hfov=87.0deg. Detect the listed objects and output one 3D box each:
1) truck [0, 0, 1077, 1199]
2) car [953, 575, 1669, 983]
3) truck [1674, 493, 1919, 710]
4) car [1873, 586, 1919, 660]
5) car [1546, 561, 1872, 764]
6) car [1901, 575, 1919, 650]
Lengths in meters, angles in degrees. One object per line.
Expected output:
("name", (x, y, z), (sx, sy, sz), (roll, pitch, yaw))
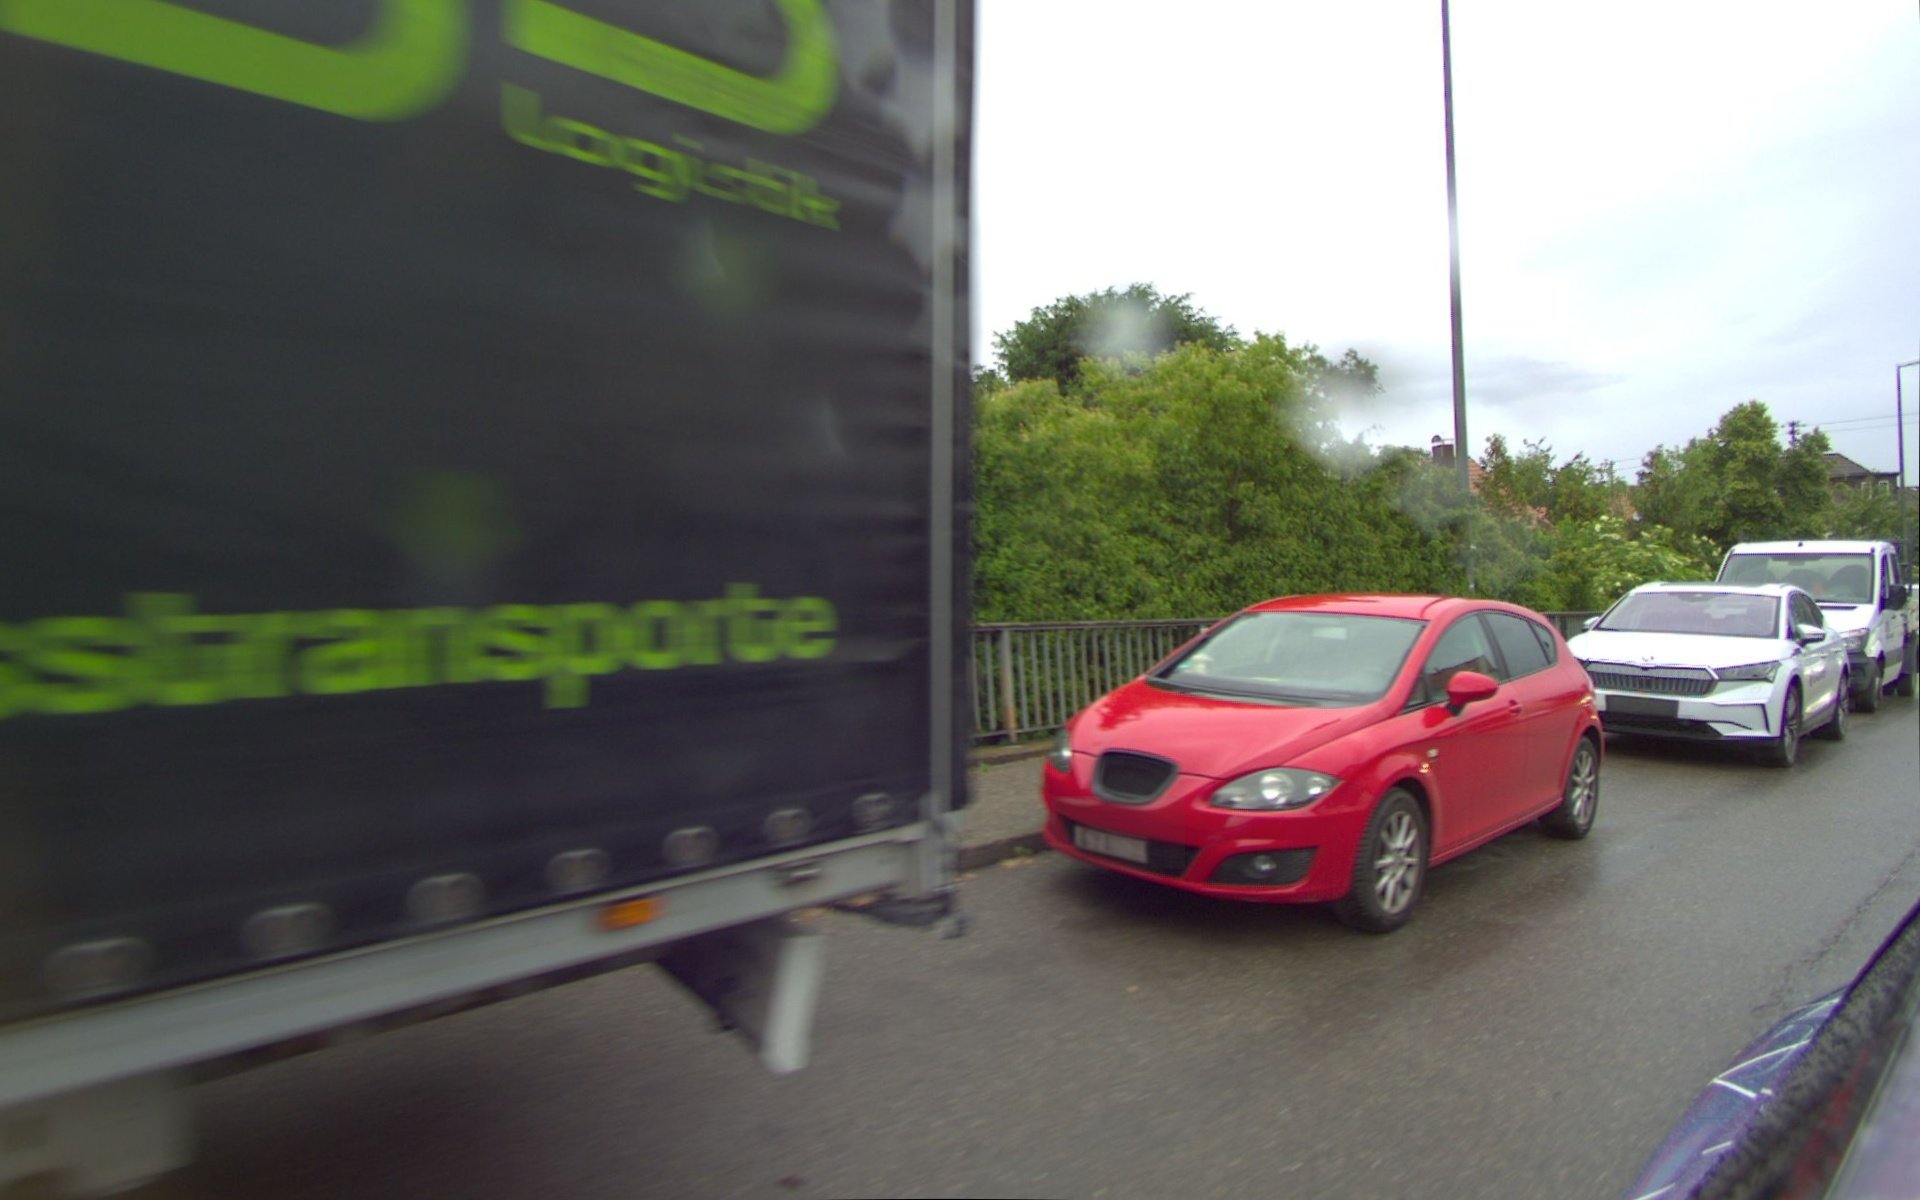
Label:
("truck", (-3.520, -0.302, 0.573), (7.824, 3.376, 2.441), (-1, 2, -40))
("car", (2.391, 0.585, 5.944), (4.901, 1.455, 1.835), (-1, 2, -42))
("truck", (13.174, -0.056, 15.350), (6.422, 2.664, 2.244), (-1, 2, -40))
("car", (22.399, 0.480, 23.179), (3.892, 1.582, 1.651), (-1, 2, -39))
("car", (7.763, 0.448, 10.304), (4.586, 1.624, 1.762), (-1, 2, -42))
("car", (26.459, 0.290, 26.852), (4.829, 1.905, 1.851), (-1, 2, -43))
